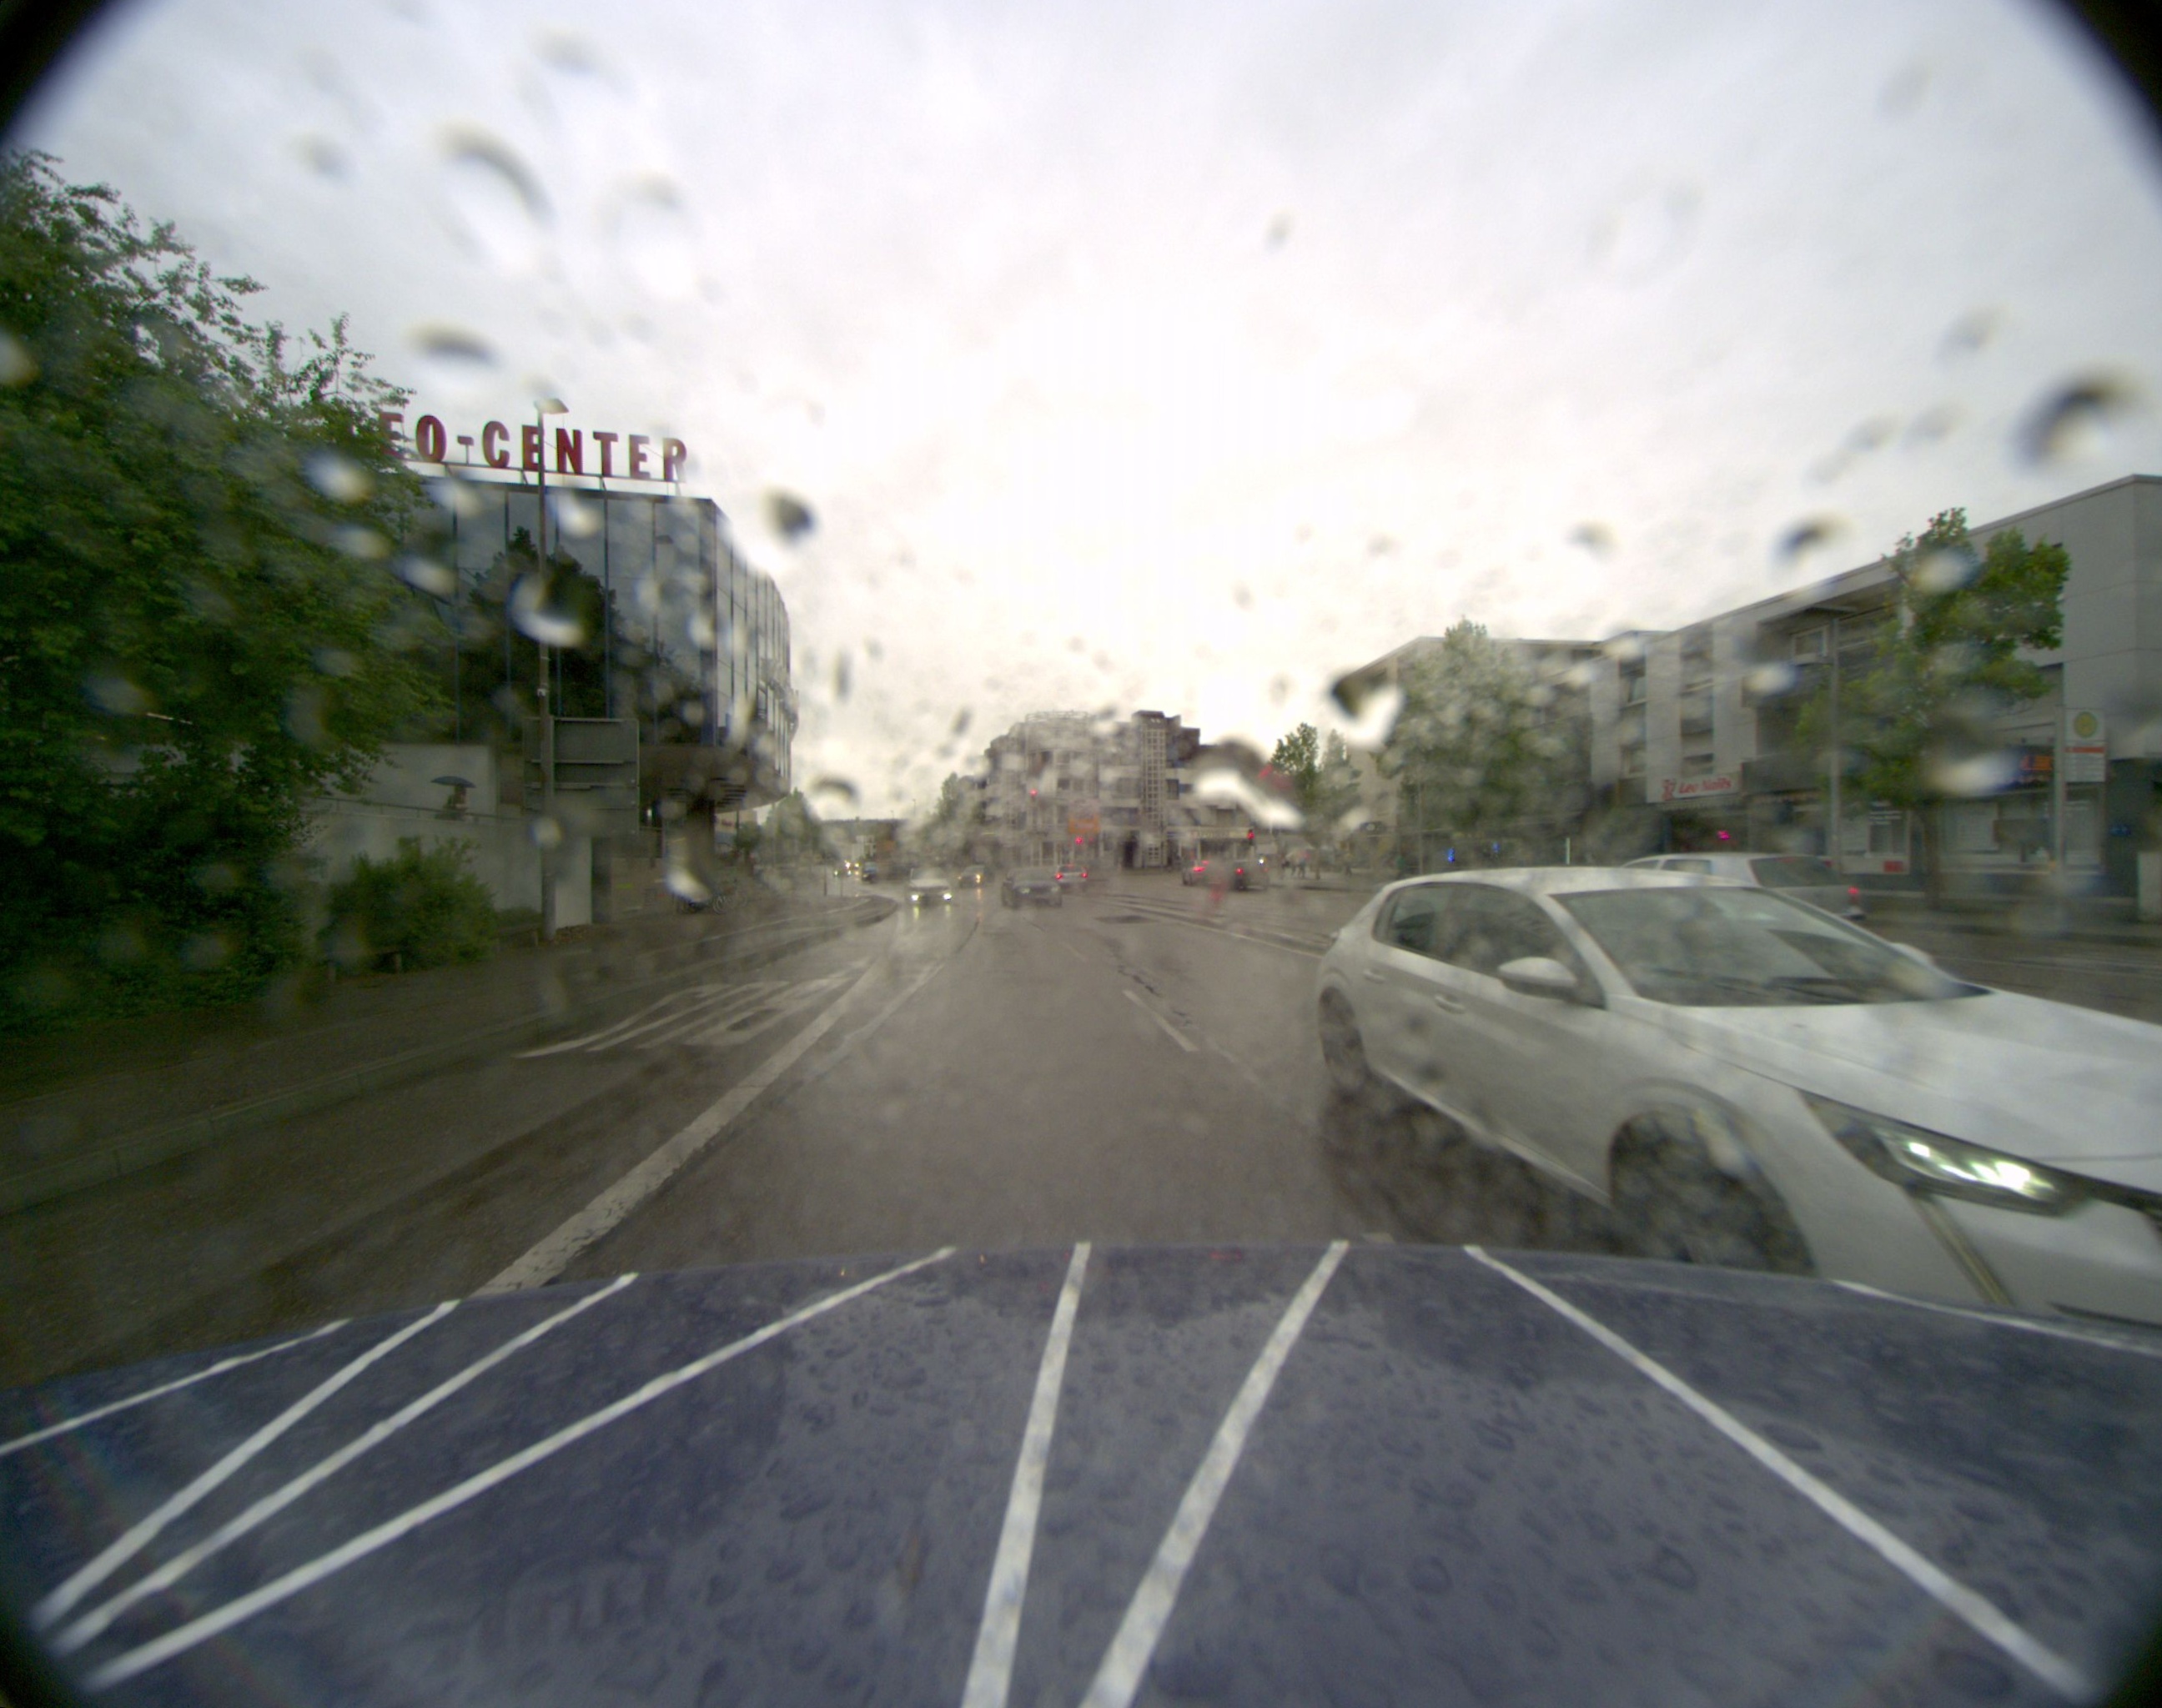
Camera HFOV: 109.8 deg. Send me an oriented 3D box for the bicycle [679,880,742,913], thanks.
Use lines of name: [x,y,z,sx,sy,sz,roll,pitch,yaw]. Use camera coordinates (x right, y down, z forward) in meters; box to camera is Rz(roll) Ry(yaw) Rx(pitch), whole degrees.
bicycle: [-12.747,1.456,26.162,1.807,1.078,0.684,1,0,-9]

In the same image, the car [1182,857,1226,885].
car: [6.864,0.912,42.689,1.761,1.418,4.888,-1,0,1]

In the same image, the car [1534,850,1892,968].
car: [9.109,0.684,11.495,1.705,1.457,4.101,0,0,-7]

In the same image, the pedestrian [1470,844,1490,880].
pedestrian: [19.568,0.390,37.267,0.549,1.740,0.680,-1,0,-5]

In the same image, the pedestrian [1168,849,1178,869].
pedestrian: [8.366,0.433,69.043,0.838,1.733,0.585,-2,1,-1]

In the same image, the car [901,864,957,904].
car: [-6.793,1.263,33.587,1.764,1.540,4.320,-4,0,-19]

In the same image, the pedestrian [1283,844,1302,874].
pedestrian: [14.324,0.328,51.417,0.906,2.002,0.977,-1,0,-7]

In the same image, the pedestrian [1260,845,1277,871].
pedestrian: [13.848,0.323,56.198,0.906,1.903,0.977,-1,0,-7]

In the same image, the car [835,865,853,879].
car: [-26.695,1.996,85.588,1.903,1.517,3.994,-1,0,-17]

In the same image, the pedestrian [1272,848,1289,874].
pedestrian: [14.807,0.506,56.328,0.906,1.903,0.977,-1,0,-7]

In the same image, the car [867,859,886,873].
car: [-23.040,1.323,85.440,1.903,1.517,3.994,-1,0,-17]

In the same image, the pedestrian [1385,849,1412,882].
pedestrian: [16.141,0.559,38.651,1.010,1.636,0.726,-2,0,-7]

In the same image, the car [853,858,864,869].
car: [-33.756,1.400,115.296,1.585,1.630,3.635,-1,0,-16]

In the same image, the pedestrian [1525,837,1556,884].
pedestrian: [20.029,0.288,33.118,0.760,2.002,0.864,-1,0,-4]

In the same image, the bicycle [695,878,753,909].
bicycle: [-13.290,1.463,28.328,1.836,1.104,0.693,0,1,-9]

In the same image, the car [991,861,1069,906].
car: [-1.977,1.058,28.276,1.679,1.533,3.906,-1,-1,-23]

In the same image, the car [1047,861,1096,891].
car: [-0.553,1.165,40.851,1.764,1.442,3.996,-1,-1,-13]

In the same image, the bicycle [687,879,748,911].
bicycle: [-12.882,1.437,26.980,1.816,1.103,0.693,1,0,-9]

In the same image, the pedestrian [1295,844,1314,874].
pedestrian: [15.218,0.326,51.744,0.906,2.002,0.977,-1,0,-7]

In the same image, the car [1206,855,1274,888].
car: [7.379,0.810,35.643,1.763,1.418,3.997,-1,-1,-9]

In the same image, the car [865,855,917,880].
car: [-16.568,1.158,66.127,4.195,2.002,1.793,-1,0,-20]

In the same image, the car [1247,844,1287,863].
car: [20.668,-0.036,84.440,4.607,2.002,1.994,-1,0,-41]

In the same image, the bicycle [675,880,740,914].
bicycle: [-12.532,1.433,25.502,1.816,1.103,0.693,1,0,-9]

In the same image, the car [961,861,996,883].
car: [-7.225,1.236,53.821,1.632,1.481,3.841,-1,-1,5]

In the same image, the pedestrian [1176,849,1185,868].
pedestrian: [9.191,0.434,70.412,0.682,1.733,0.585,-2,1,19]

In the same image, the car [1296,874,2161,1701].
car: [2.687,0.888,3.496,1.878,1.453,3.870,-2,0,-7]

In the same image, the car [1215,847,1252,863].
car: [17.426,0.084,86.758,3.900,1.710,1.744,-1,0,-25]

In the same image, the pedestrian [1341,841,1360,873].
pedestrian: [17.504,0.203,49.359,0.761,2.002,0.863,-1,0,-8]
